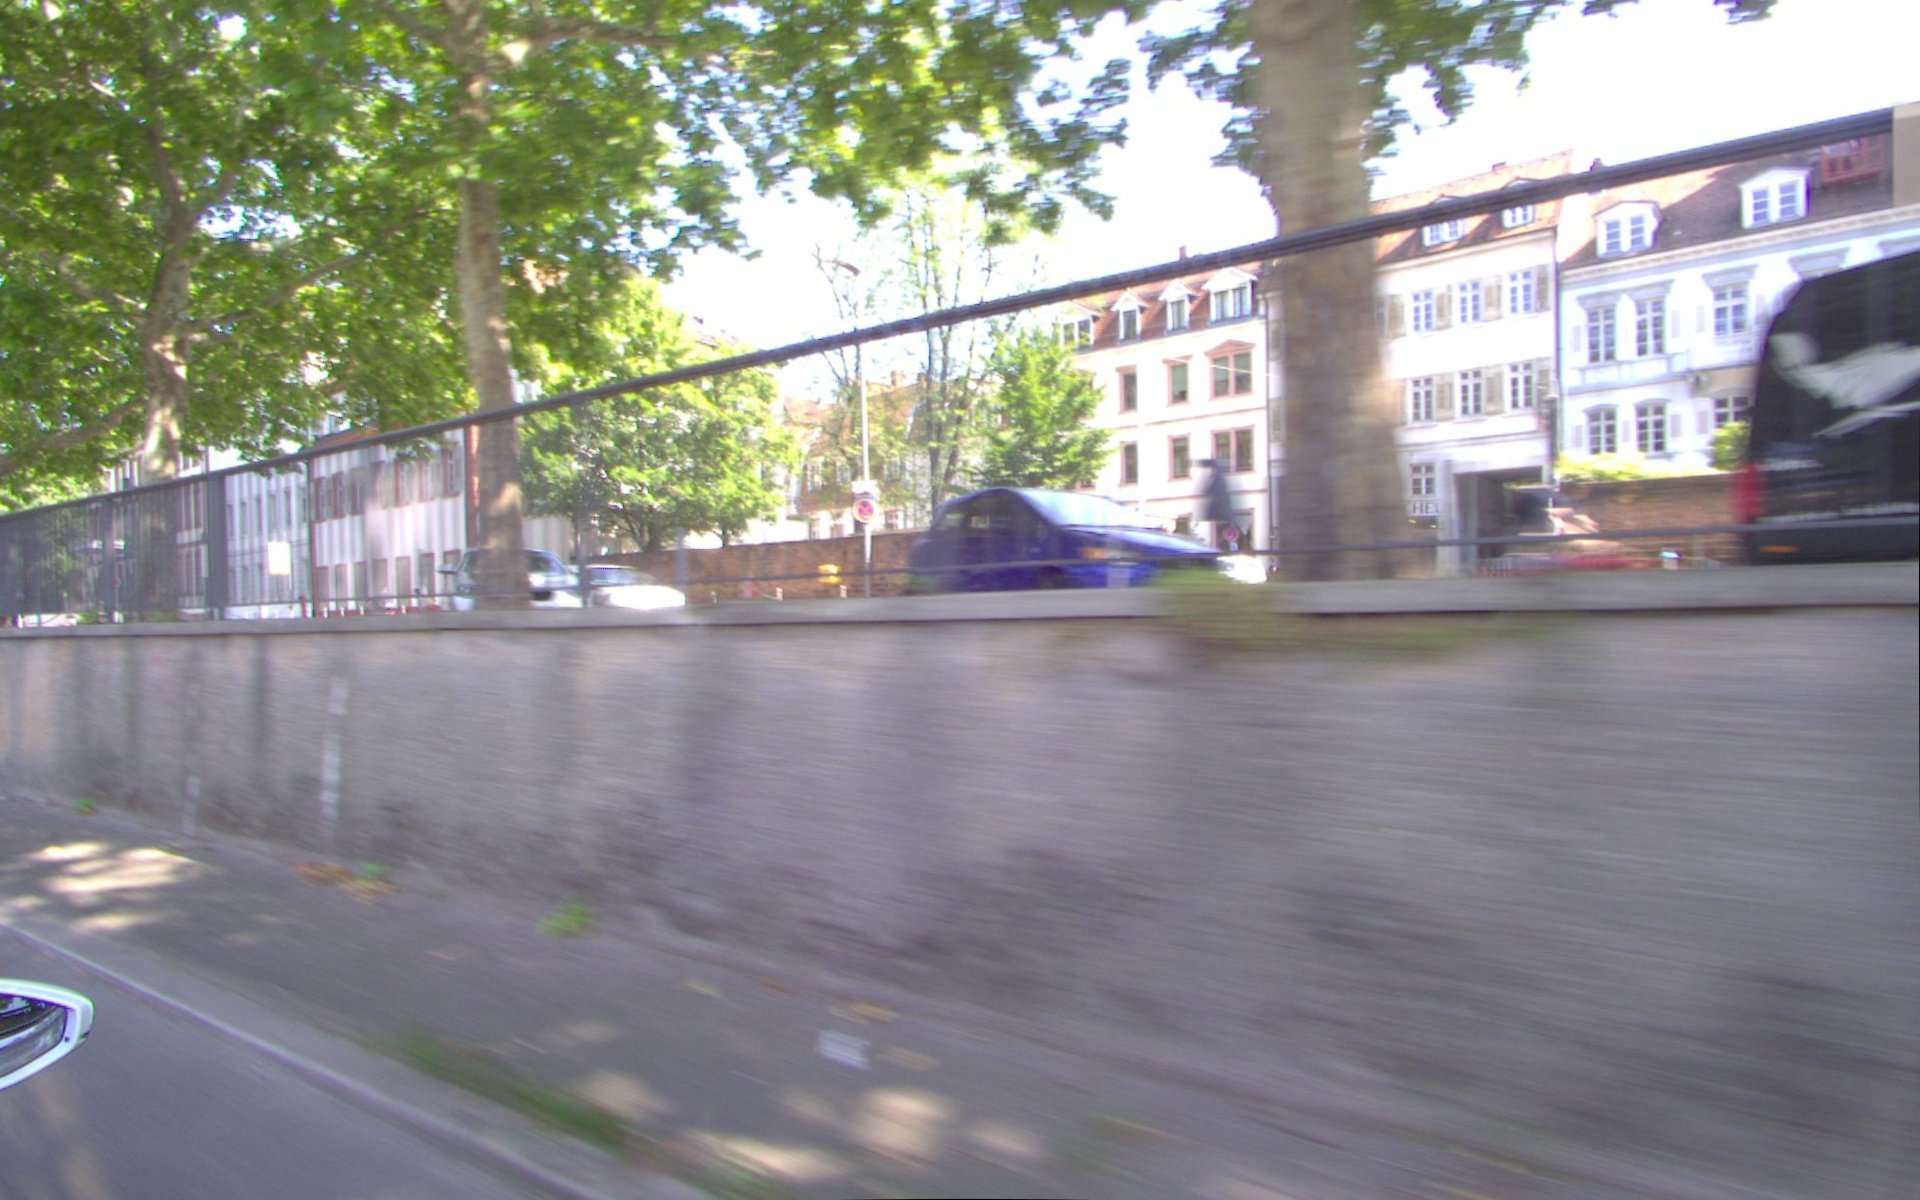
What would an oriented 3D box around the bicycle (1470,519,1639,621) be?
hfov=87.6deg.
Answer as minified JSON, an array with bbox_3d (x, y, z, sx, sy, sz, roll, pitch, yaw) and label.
[{"bbox_3d":[6.511,-0.296,11.038,0.414,0.988,1.533,1,-3,-39],"label":"bicycle"}]

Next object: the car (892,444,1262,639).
[{"bbox_3d":[0.939,-0.413,9.889,1.631,1.520,3.796,0,-1,-32],"label":"car"}]

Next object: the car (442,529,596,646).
[{"bbox_3d":[-6.653,-0.115,14.868,1.754,1.488,3.981,0,-1,-29],"label":"car"}]

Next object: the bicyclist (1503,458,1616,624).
[{"bbox_3d":[6.574,-0.605,10.995,0.696,1.704,0.838,1,-3,-40],"label":"bicyclist"}]

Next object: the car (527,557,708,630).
[{"bbox_3d":[-7.501,-0.138,21.879,3.666,1.447,1.868,-1,2,33],"label":"car"}]

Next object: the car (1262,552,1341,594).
[{"bbox_3d":[13.401,-1.092,39.104,1.762,1.482,4.593,-1,2,34],"label":"car"}]

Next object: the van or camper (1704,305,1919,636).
[{"bbox_3d":[8.689,-1.004,5.306,2.310,2.210,7.328,2,-4,-28],"label":"van or camper"}]

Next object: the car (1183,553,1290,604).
[{"bbox_3d":[8.482,-0.687,30.443,1.762,1.395,4.593,-1,2,34],"label":"car"}]
